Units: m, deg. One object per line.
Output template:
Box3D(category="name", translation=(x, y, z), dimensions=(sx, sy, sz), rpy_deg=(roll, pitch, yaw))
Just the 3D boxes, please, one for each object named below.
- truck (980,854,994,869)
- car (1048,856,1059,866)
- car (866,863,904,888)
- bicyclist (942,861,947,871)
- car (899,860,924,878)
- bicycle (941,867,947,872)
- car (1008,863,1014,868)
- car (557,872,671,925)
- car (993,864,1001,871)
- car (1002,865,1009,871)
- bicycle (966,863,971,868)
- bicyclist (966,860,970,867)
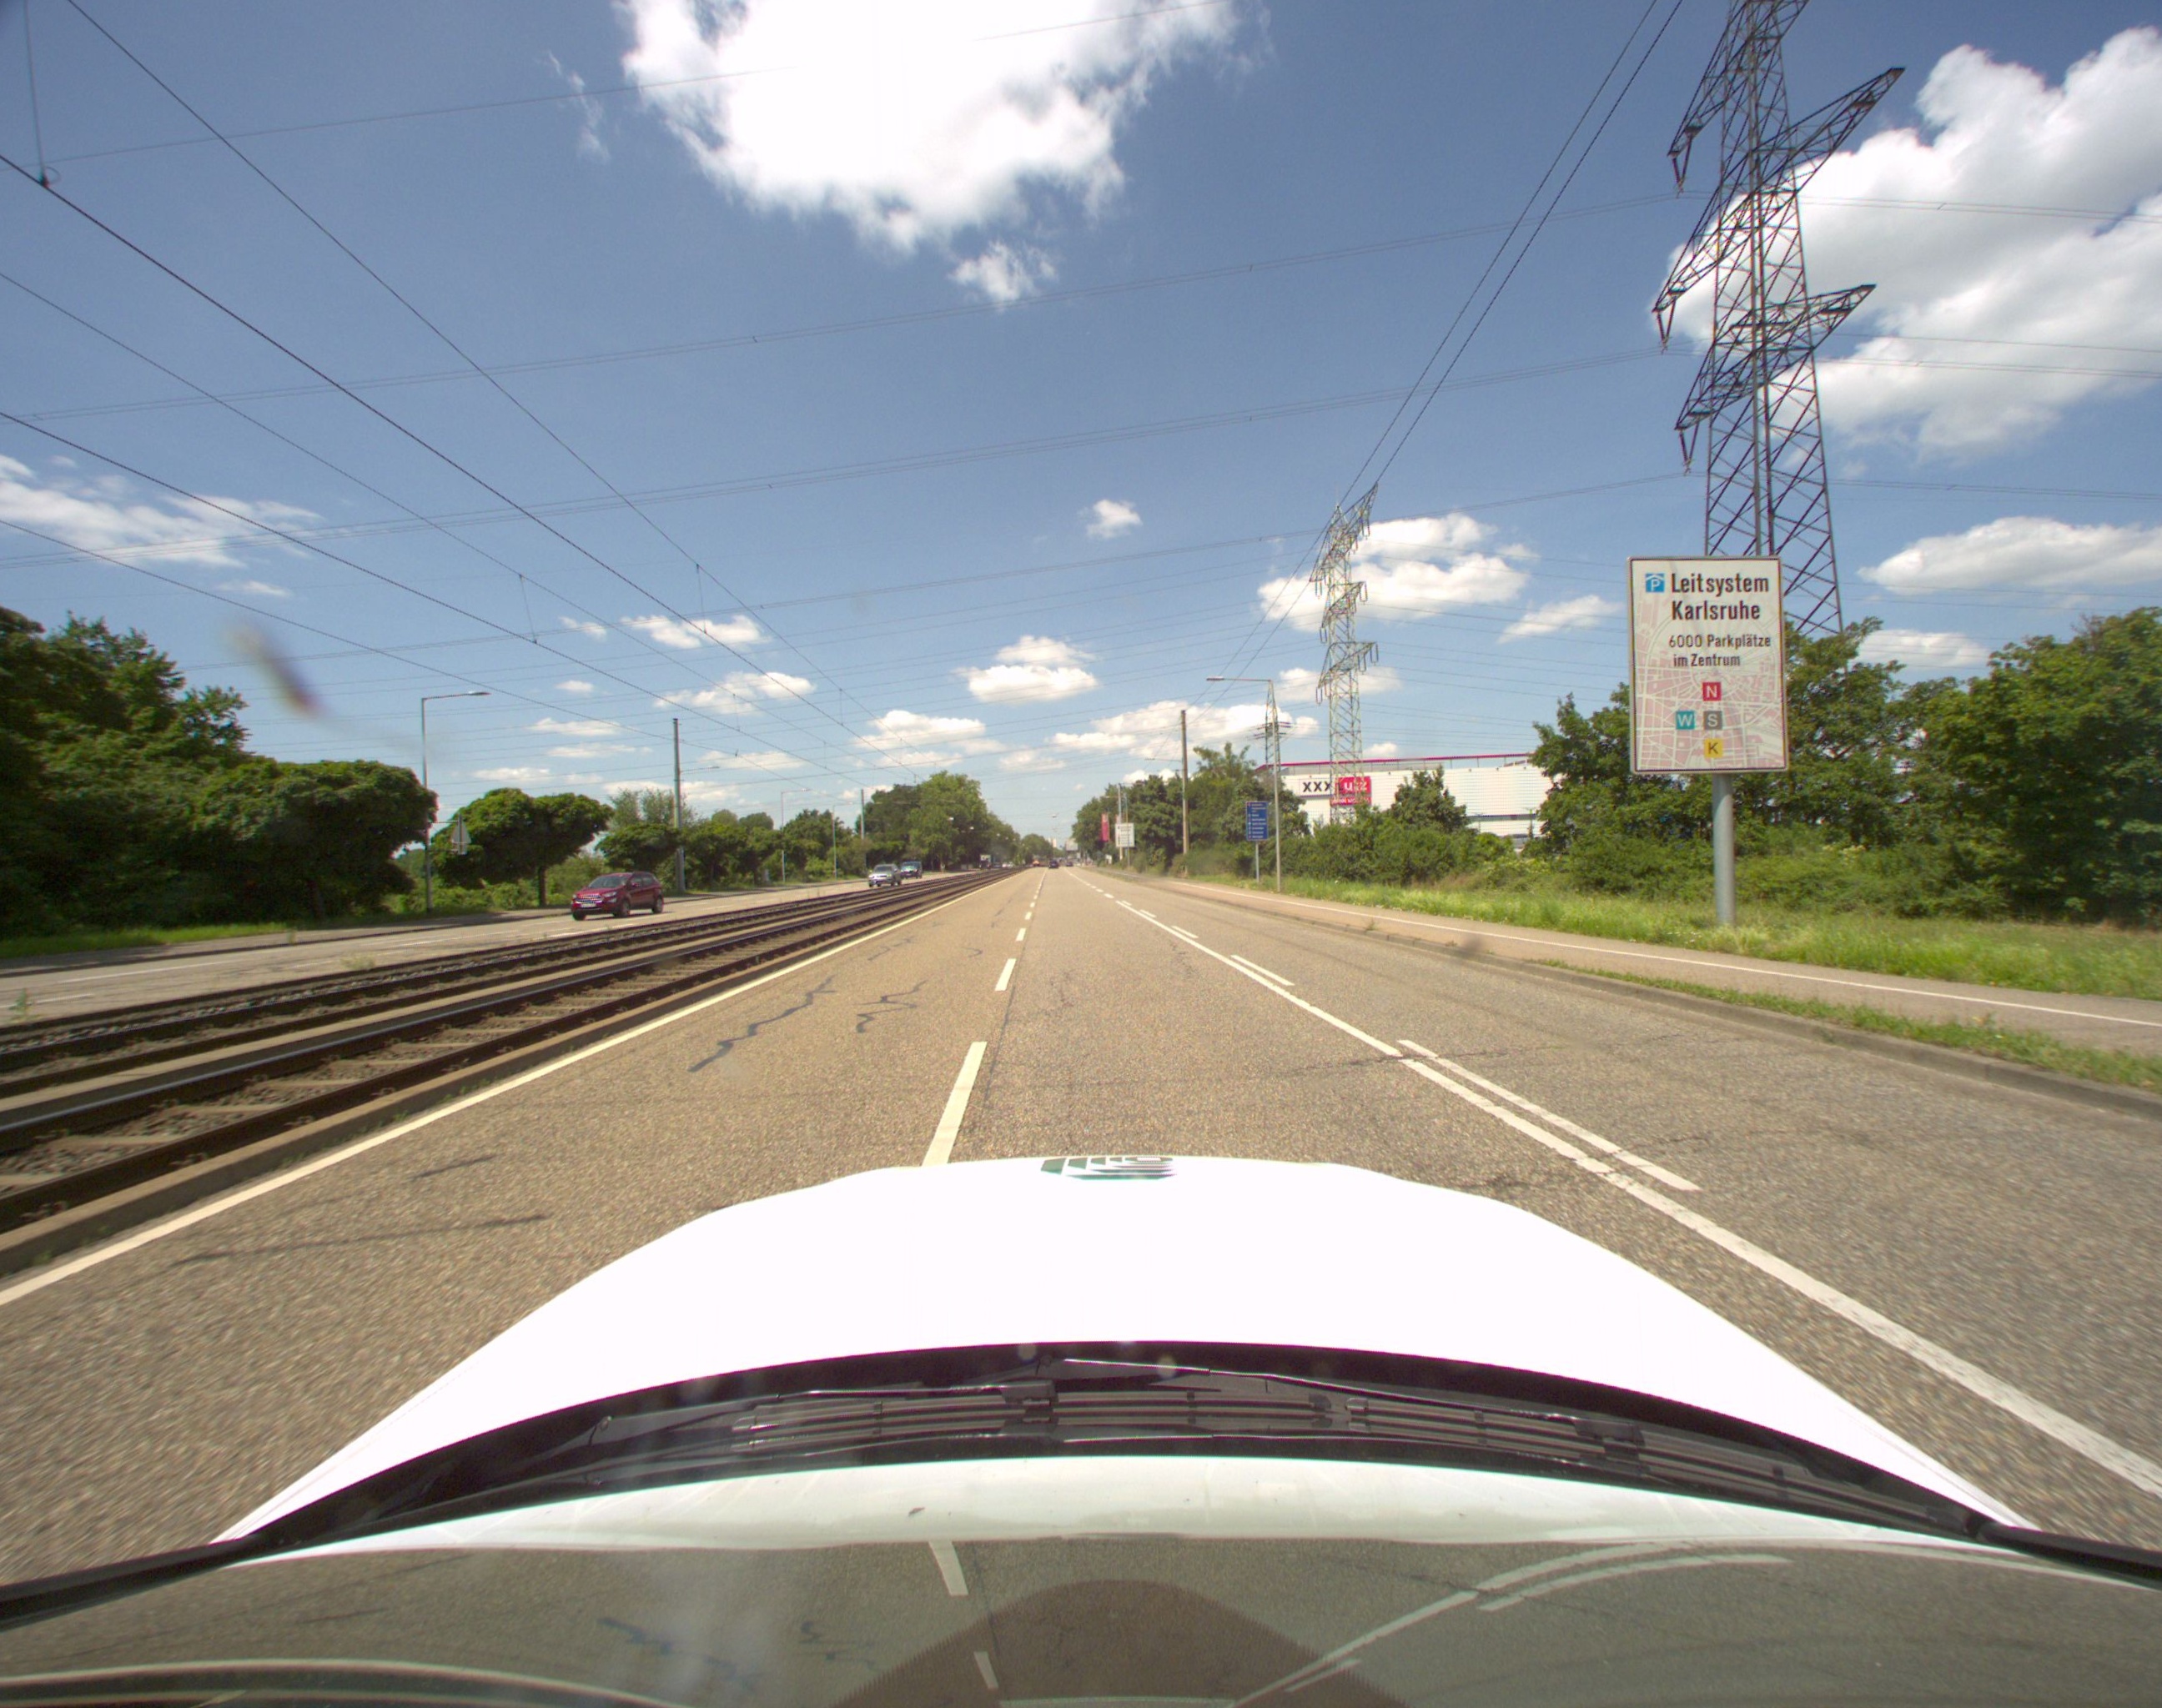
Box3D(category="truck", translation=(-20.946, 1.595, 181.795), dimensions=(2.243, 3.236, 6.039), rpy_deg=(-2, 0, -1))
Box3D(category="car", translation=(-4.990, 1.224, 146.792), dimensions=(1.895, 1.805, 3.972), rpy_deg=(0, -1, -2))
Box3D(category="car", translation=(-14.458, 1.552, 60.361), dimensions=(1.797, 1.625, 4.490), rpy_deg=(-3, 0, -3))
Box3D(category="bicyclist", translation=(-23.835, 2.120, 141.778), dimensions=(0.648, 1.620, 1.155), rpy_deg=(0, 0, 1))
Box3D(category="car", translation=(-19.283, 1.696, 92.943), dimensions=(1.852, 1.927, 5.003), rpy_deg=(-3, 0, -2))
Box3D(category="bicycle", translation=(-23.829, 2.635, 141.789), dimensions=(0.648, 0.859, 2.121), rpy_deg=(0, 0, 2))
Box3D(category="car", translation=(-21.982, 3.703, 255.364), dimensions=(1.633, 1.436, 3.717), rpy_deg=(-3, 0, -3))
Box3D(category="car", translation=(-16.978, 1.567, 29.860), dimensions=(1.797, 1.625, 4.207), rpy_deg=(-3, 0, -3))
Box3D(category="car", translation=(-20.947, 3.360, 204.177), dimensions=(1.748, 1.535, 3.952), rpy_deg=(-3, 0, -3))
Box3D(category="car", translation=(-21.688, 3.956, 233.932), dimensions=(1.632, 1.421, 4.124), rpy_deg=(-3, 0, -1))
Box3D(category="bicycle", translation=(-24.089, 2.516, 173.678), dimensions=(0.620, 0.979, 2.057), rpy_deg=(1, 0, 4))
Box3D(category="bicyclist", translation=(-24.084, 2.026, 173.622), dimensions=(0.620, 1.617, 1.063), rpy_deg=(0, -1, 4))
